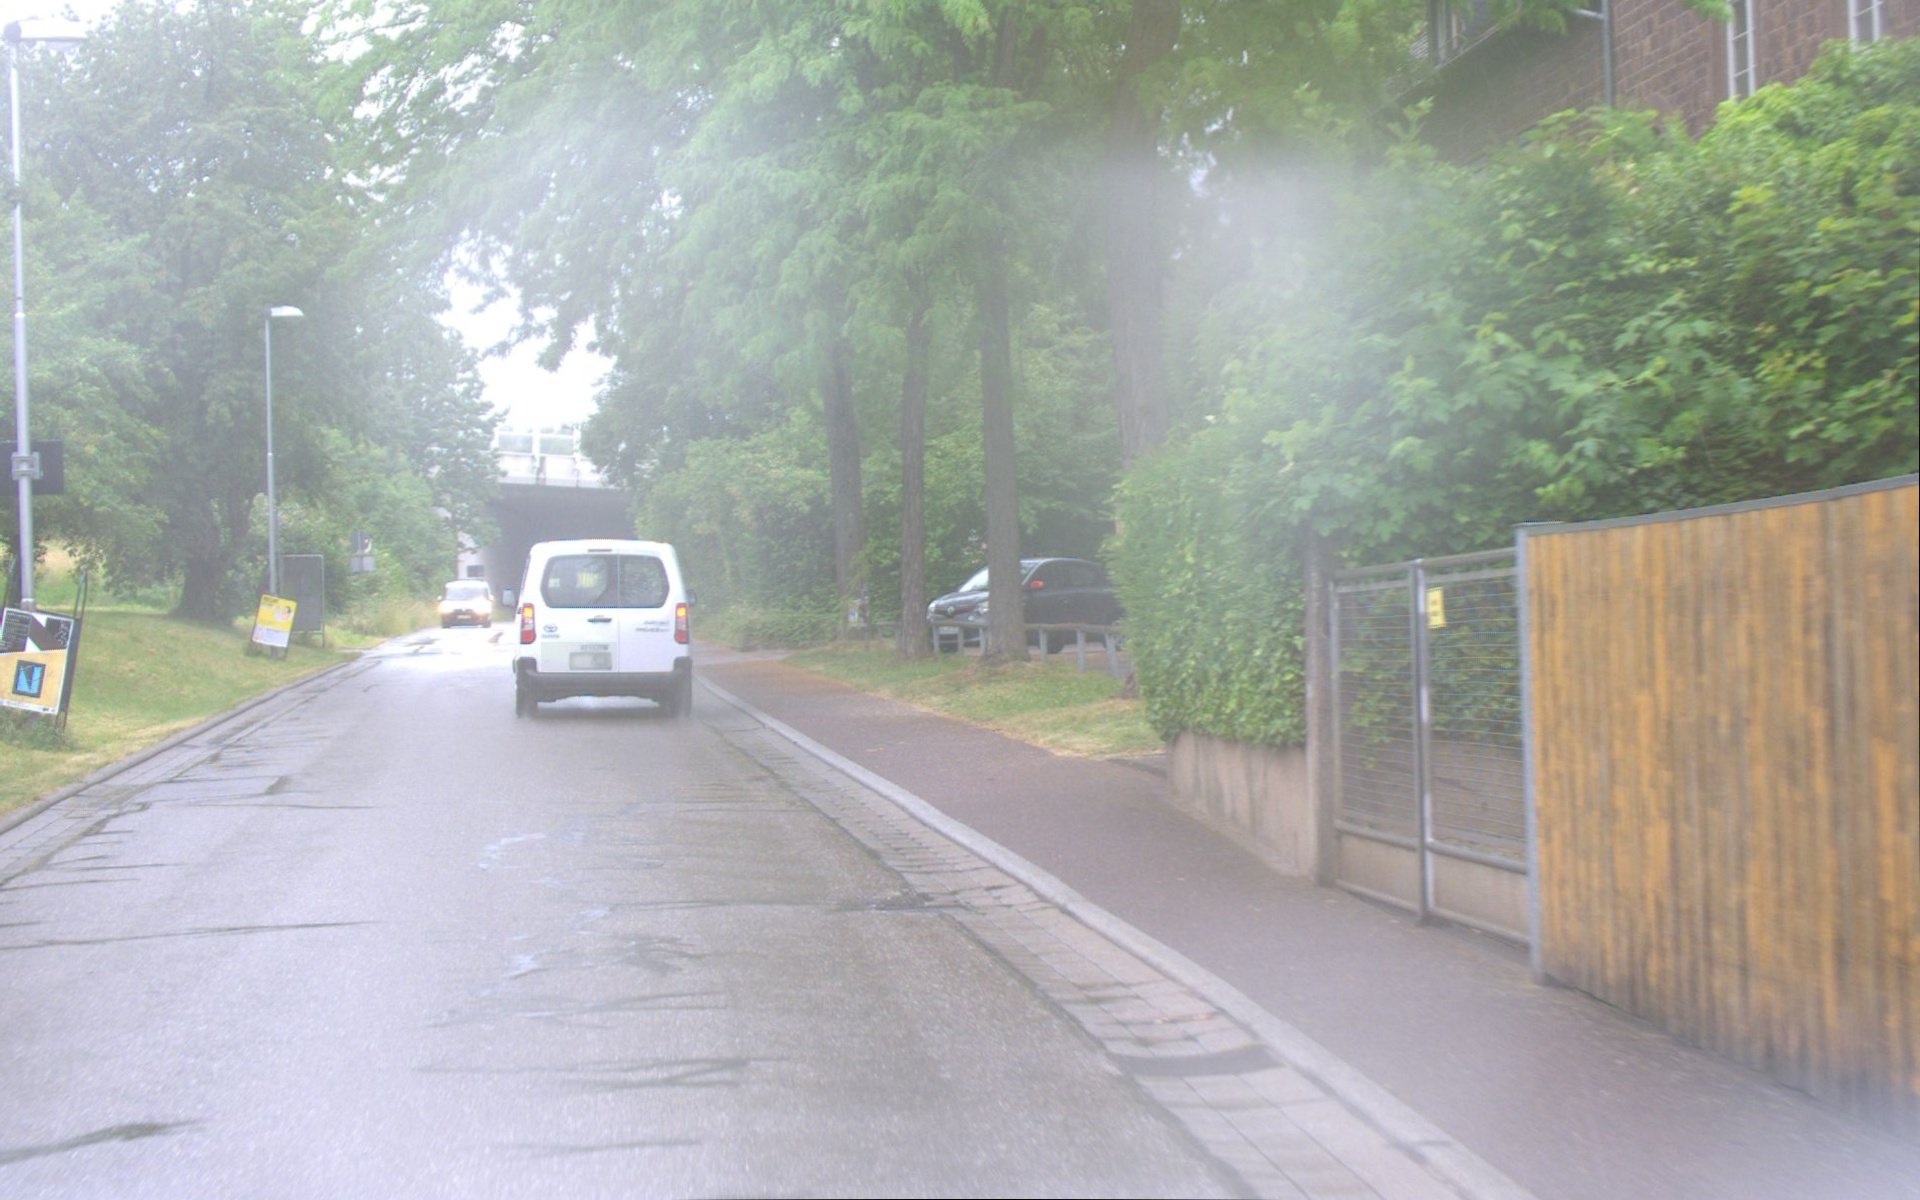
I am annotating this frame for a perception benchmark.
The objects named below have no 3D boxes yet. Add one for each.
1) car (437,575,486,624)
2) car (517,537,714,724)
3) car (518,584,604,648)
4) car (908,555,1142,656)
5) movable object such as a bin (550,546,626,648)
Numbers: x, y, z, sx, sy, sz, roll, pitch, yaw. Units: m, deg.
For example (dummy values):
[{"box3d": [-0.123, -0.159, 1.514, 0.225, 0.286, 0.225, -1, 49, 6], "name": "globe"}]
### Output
[{"box3d": [-19.110, -0.003, 131.750, 1.823, 1.825, 4.308, 0, 0, -8], "name": "car"}, {"box3d": [-3.630, 0.280, 36.042, 1.896, 1.801, 4.001, -2, 1, -6], "name": "car"}, {"box3d": [-8.768, 0.352, 75.844, 1.708, 1.373, 4.000, 0, 0, -4], "name": "car"}, {"box3d": [1.063, 0.079, 55.057, 3.603, 1.546, 1.621, -1, -1, -43], "name": "car"}, {"box3d": [-9.445, -0.058, 87.526, 1.761, 2.539, 4.239, 0, 0, -4], "name": "movable object such as a bin"}]
